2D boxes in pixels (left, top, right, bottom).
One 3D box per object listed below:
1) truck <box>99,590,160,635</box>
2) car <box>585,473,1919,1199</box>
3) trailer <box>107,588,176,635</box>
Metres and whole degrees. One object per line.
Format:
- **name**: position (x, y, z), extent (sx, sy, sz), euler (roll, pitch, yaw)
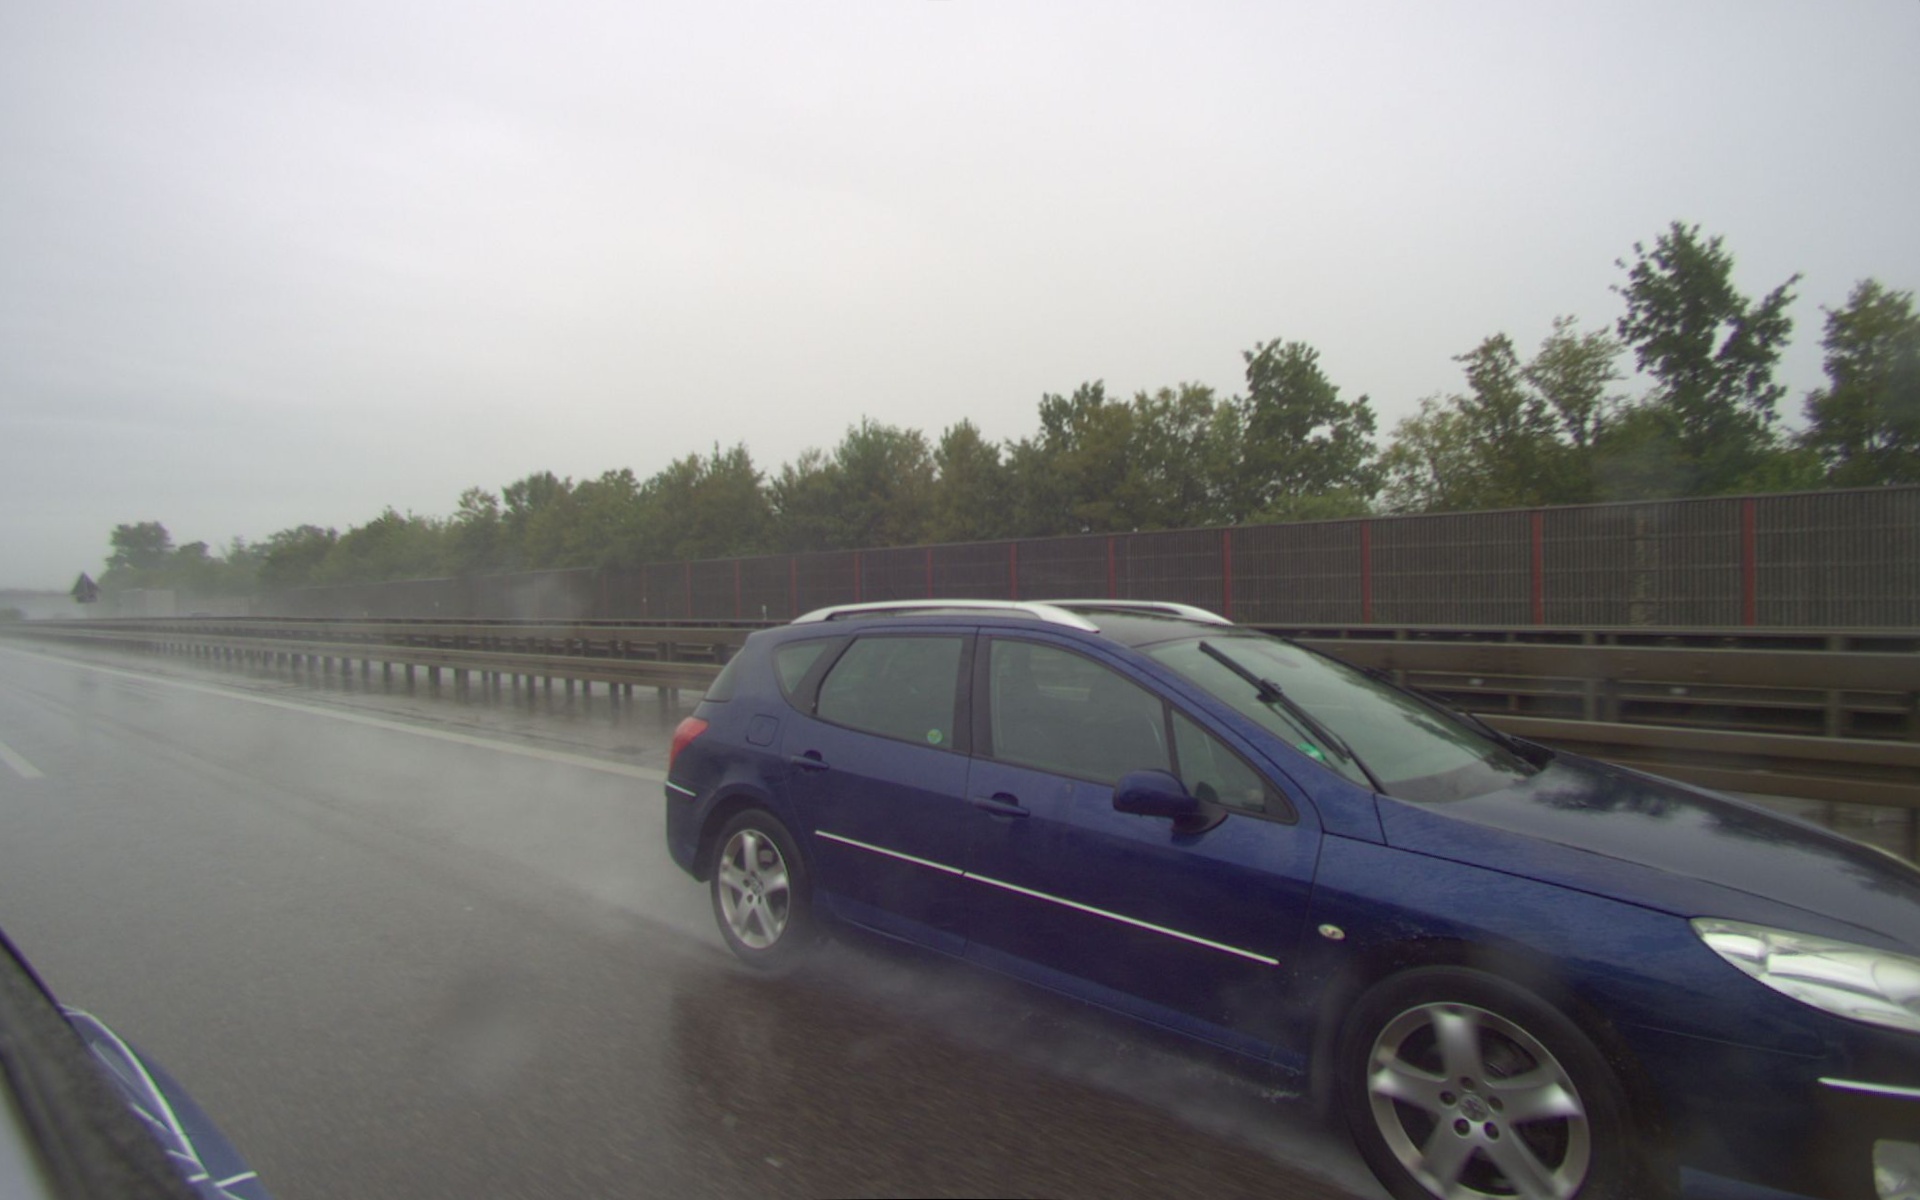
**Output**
- **truck**: position (-91.454, 1.389, 111.322), extent (9.490, 4.674, 3.795), euler (-2, -1, 42)
- **car**: position (0.959, 0.560, 3.599), extent (5.154, 1.496, 2.033), euler (-2, -1, 40)
- **trailer**: position (-86.403, 1.225, 106.717), extent (12.240, 4.731, 3.828), euler (-2, -1, 42)
